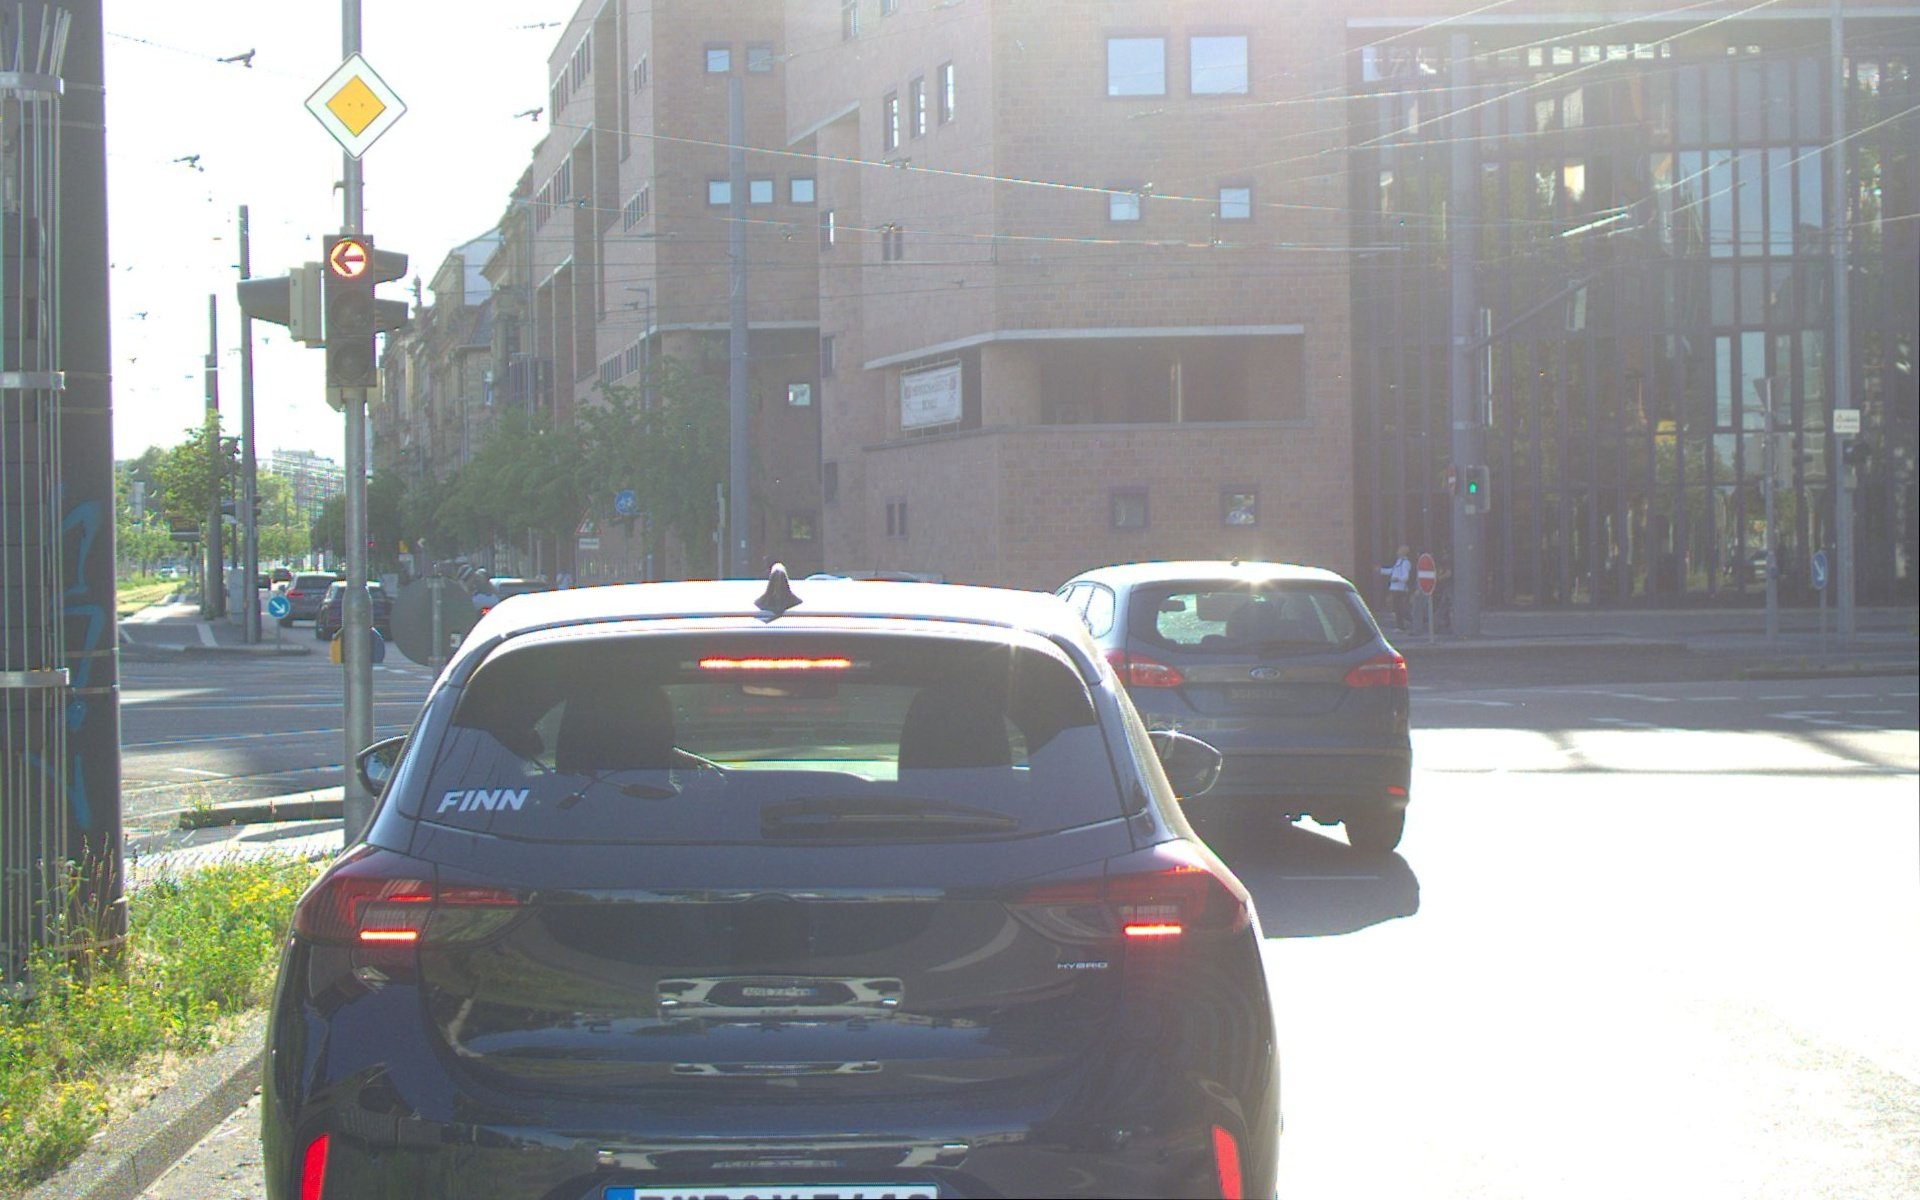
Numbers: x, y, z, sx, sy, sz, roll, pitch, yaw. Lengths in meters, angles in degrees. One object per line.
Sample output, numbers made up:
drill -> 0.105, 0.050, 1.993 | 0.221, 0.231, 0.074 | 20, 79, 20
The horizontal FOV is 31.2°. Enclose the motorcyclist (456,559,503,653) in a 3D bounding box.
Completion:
motorcyclist -> -7.941, 0.085, 56.856 | 0.744, 1.525, 1.021 | -1, 1, -8

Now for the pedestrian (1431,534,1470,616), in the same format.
pedestrian -> 9.812, -0.504, 68.802 | 0.738, 1.611, 0.560 | -1, 1, 8

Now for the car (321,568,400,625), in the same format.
car -> -14.682, -0.107, 84.055 | 1.737, 1.345, 4.001 | -1, 1, -12

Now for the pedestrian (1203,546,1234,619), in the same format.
pedestrian -> 5.060, -0.345, 67.318 | 0.529, 1.425, 0.598 | -1, 1, -1

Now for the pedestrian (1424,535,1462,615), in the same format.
pedestrian -> 9.791, -0.516, 69.716 | 0.738, 1.611, 0.560 | -1, 1, 8

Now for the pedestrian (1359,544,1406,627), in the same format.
pedestrian -> 8.380, -0.289, 68.153 | 0.900, 1.611, 0.560 | -1, 1, 8

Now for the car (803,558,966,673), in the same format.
car -> -1.057, 0.183, 46.317 | 1.807, 1.452, 4.001 | 0, 1, -7

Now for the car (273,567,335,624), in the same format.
car -> -19.582, -0.148, 102.506 | 1.737, 1.645, 4.001 | -1, 1, -12

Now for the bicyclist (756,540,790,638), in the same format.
bicyclist -> -3.429, -0.208, 63.200 | 0.577, 1.785, 0.864 | -1, 1, -2

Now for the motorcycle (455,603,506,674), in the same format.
motorcycle -> -7.913, 0.624, 56.720 | 0.775, 1.111, 1.970 | -1, 1, -9

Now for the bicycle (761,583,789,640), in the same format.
bicycle -> -3.398, 0.208, 63.330 | 0.491, 0.994, 2.328 | -1, 1, -3

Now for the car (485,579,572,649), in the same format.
car -> -9.583, 0.285, 76.139 | 1.807, 1.452, 4.001 | 0, 1, -9

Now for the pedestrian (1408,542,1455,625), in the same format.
pedestrian -> 9.262, -0.336, 67.532 | 0.900, 1.611, 0.560 | -1, 1, 8

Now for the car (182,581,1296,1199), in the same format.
car -> -0.304, 0.701, 7.115 | 1.649, 1.428, 4.000 | -1, 1, 1

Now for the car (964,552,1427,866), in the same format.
car -> 1.127, 0.493, 18.381 | 1.685, 1.428, 4.154 | 0, 2, -7

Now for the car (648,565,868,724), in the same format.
car -> -2.116, 0.399, 34.829 | 1.810, 1.487, 4.497 | 0, 1, -9
